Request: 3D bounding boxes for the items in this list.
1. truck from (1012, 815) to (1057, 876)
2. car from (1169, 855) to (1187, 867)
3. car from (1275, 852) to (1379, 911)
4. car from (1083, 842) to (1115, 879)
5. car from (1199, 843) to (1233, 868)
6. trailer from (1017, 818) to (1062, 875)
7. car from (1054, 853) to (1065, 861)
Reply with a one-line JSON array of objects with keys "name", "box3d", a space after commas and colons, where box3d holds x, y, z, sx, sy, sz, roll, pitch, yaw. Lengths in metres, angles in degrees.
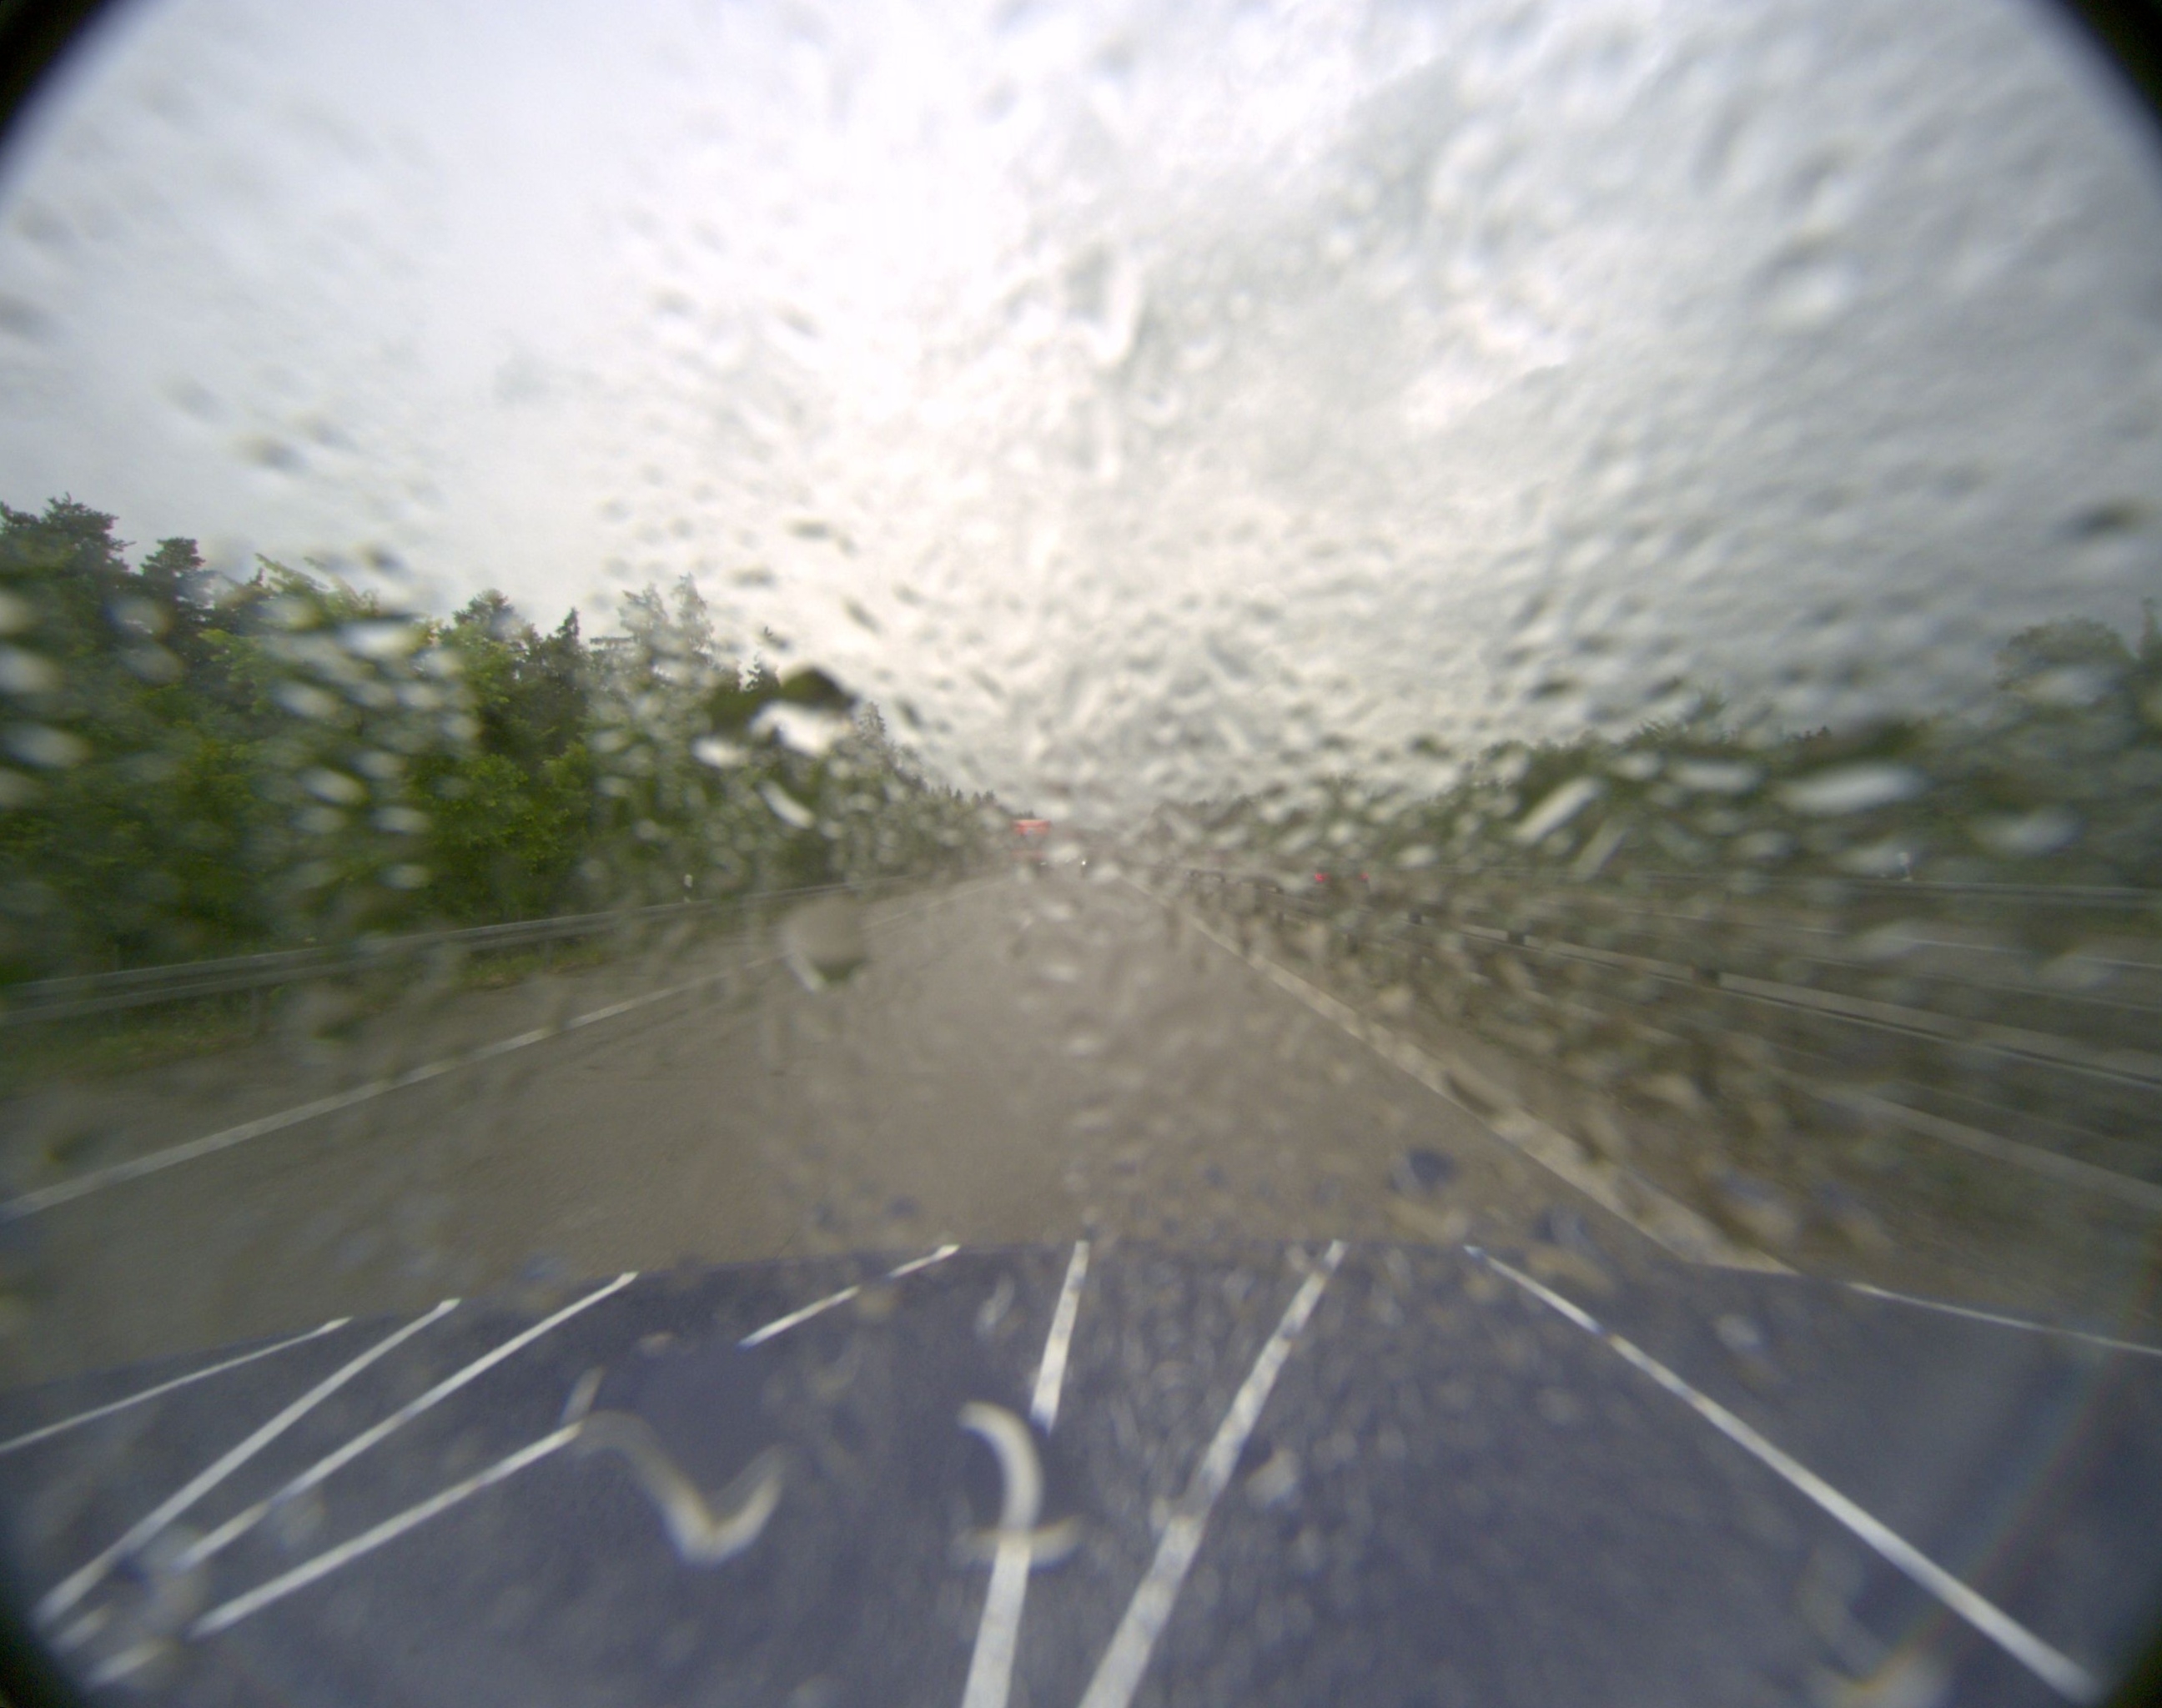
[{"name": "truck", "box3d": [-3.220, -0.580, 54.218, 2.766, 4.064, 5.437, 1, 0, 0]}, {"name": "car", "box3d": [11.977, 0.855, 94.143, 1.754, 1.427, 3.918, 1, 0, 0]}, {"name": "car", "box3d": [7.378, 0.769, 23.238, 1.832, 1.491, 4.021, -2, 1, 0]}, {"name": "car", "box3d": [1.044, 0.381, 45.915, 1.795, 2.113, 4.524, 1, 0, 1]}, {"name": "car", "box3d": [11.965, 0.143, 67.617, 1.998, 2.052, 5.313, 1, 0, 0]}, {"name": "trailer", "box3d": [-3.169, -0.529, 61.504, 2.801, 4.132, 13.005, 1, 0, 0]}, {"name": "car", "box3d": [-3.087, 0.461, 110.218, 1.497, 1.188, 3.669, 1, 0, 1]}]
